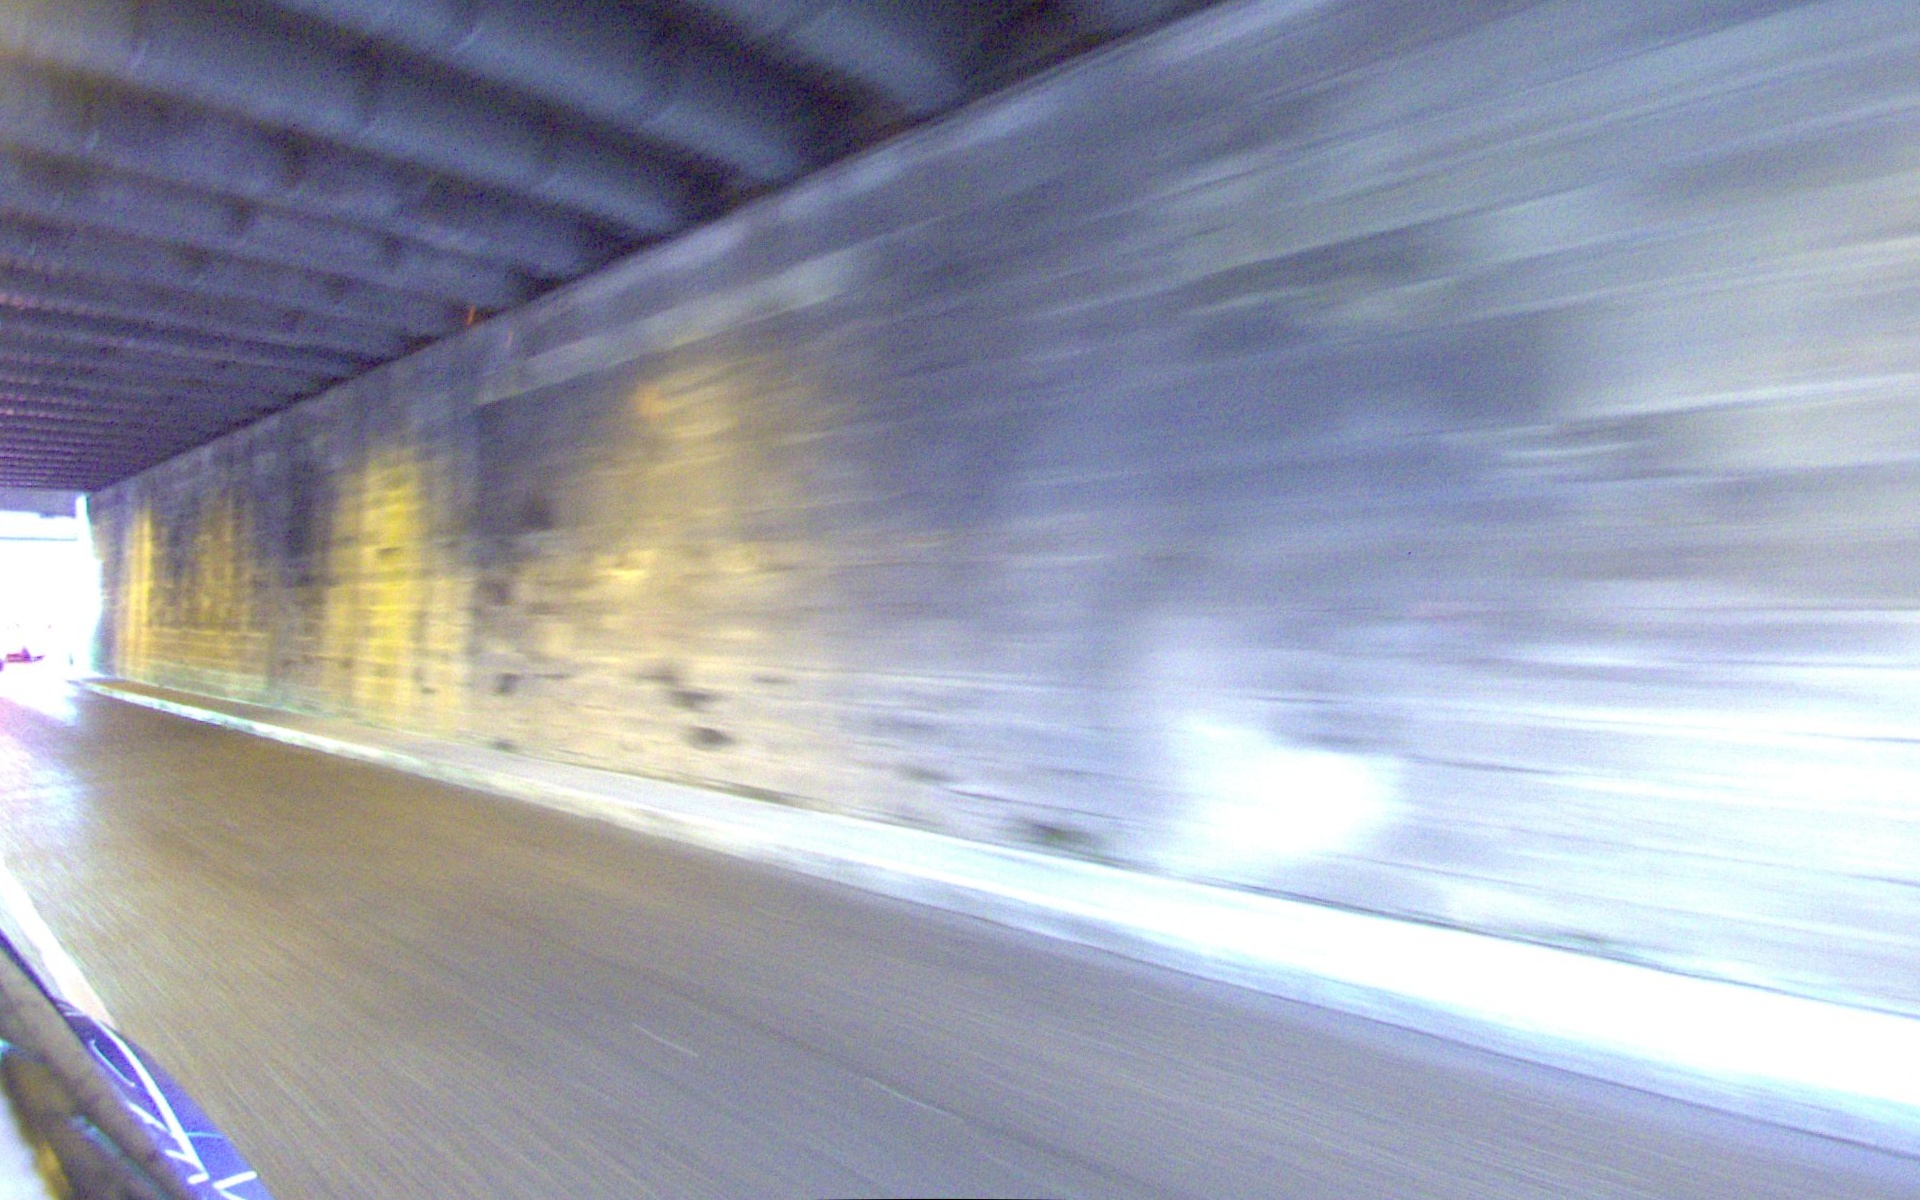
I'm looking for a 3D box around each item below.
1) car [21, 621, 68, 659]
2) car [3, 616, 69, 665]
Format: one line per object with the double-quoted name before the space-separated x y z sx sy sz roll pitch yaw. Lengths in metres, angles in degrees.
"car" -35.254 1.505 38.943 1.259 1.326 3.323 -1 0 -44
"car" -31.725 1.335 34.755 1.571 1.554 4.077 -1 0 -43
